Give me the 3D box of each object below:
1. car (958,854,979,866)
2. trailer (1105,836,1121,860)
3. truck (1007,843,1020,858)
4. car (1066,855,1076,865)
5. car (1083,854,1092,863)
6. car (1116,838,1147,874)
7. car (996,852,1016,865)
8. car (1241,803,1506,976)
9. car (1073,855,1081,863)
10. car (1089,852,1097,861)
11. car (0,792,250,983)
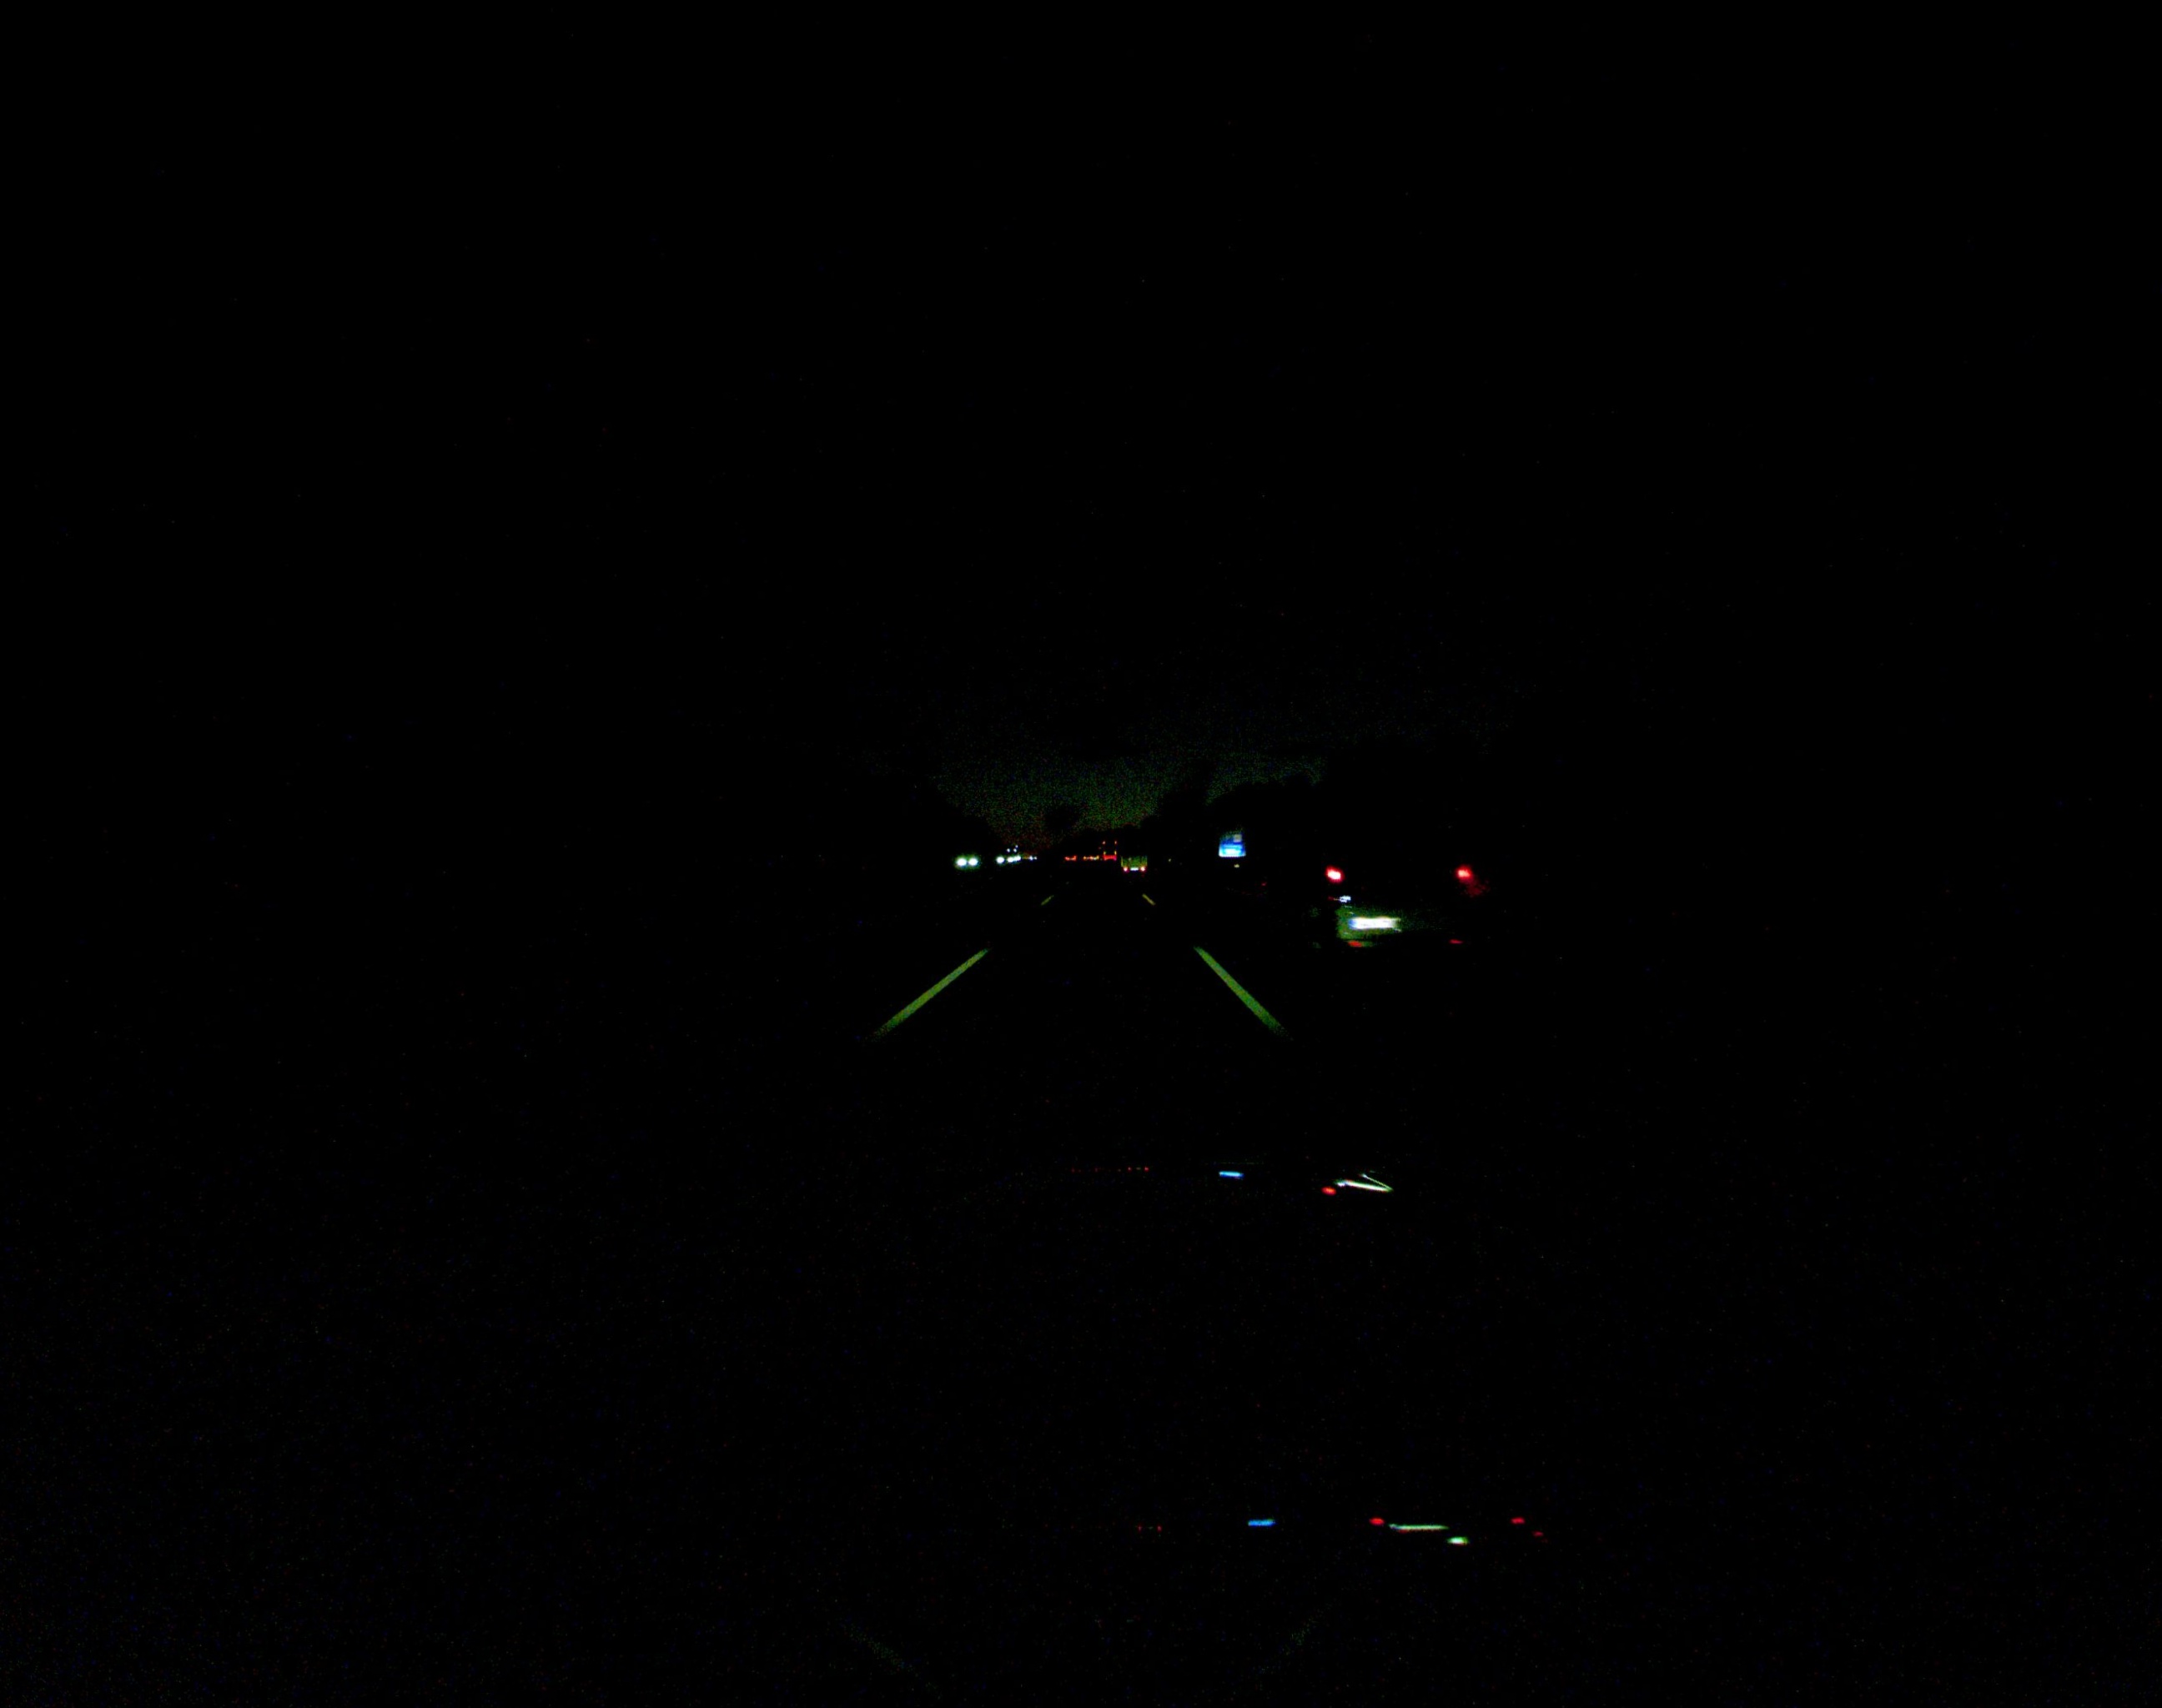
[{"bbox_3d":[-14.167,0.739,103.042,2.003,1.467,4.208,-1,0,1],"label":"car"},{"bbox_3d":[6.421,-1.056,167.887,2.819,4.257,17.046,-1,-2,1],"label":"trailer"},{"bbox_3d":[-17.831,-0.923,215.264,2.845,3.980,5.858,-1,0,0],"label":"truck"},{"bbox_3d":[-1.917,1.223,161.566,1.987,1.794,3.998,-1,-2,-1],"label":"car"},{"bbox_3d":[1.403,0.949,179.055,1.986,1.794,4.000,-1,-2,1],"label":"car"},{"bbox_3d":[3.829,0.169,62.469,2.026,2.647,5.724,-1,0,0],"label":"car"},{"bbox_3d":[-9.863,0.565,107.252,2.003,1.669,4.485,-1,0,2],"label":"car"},{"bbox_3d":[3.971,0.429,12.355,2.108,2.001,5.665,-1,0,1],"label":"car"},{"bbox_3d":[-1.007,1.249,206.153,1.987,1.816,4.000,-1,-2,1],"label":"car"},{"bbox_3d":[3.136,0.657,212.704,1.989,2.117,3.994,0,-2,-4],"label":"car"},{"bbox_3d":[-15.324,0.453,10.817,2.093,2.517,6.217,-1,0,1],"label":"car"}]
